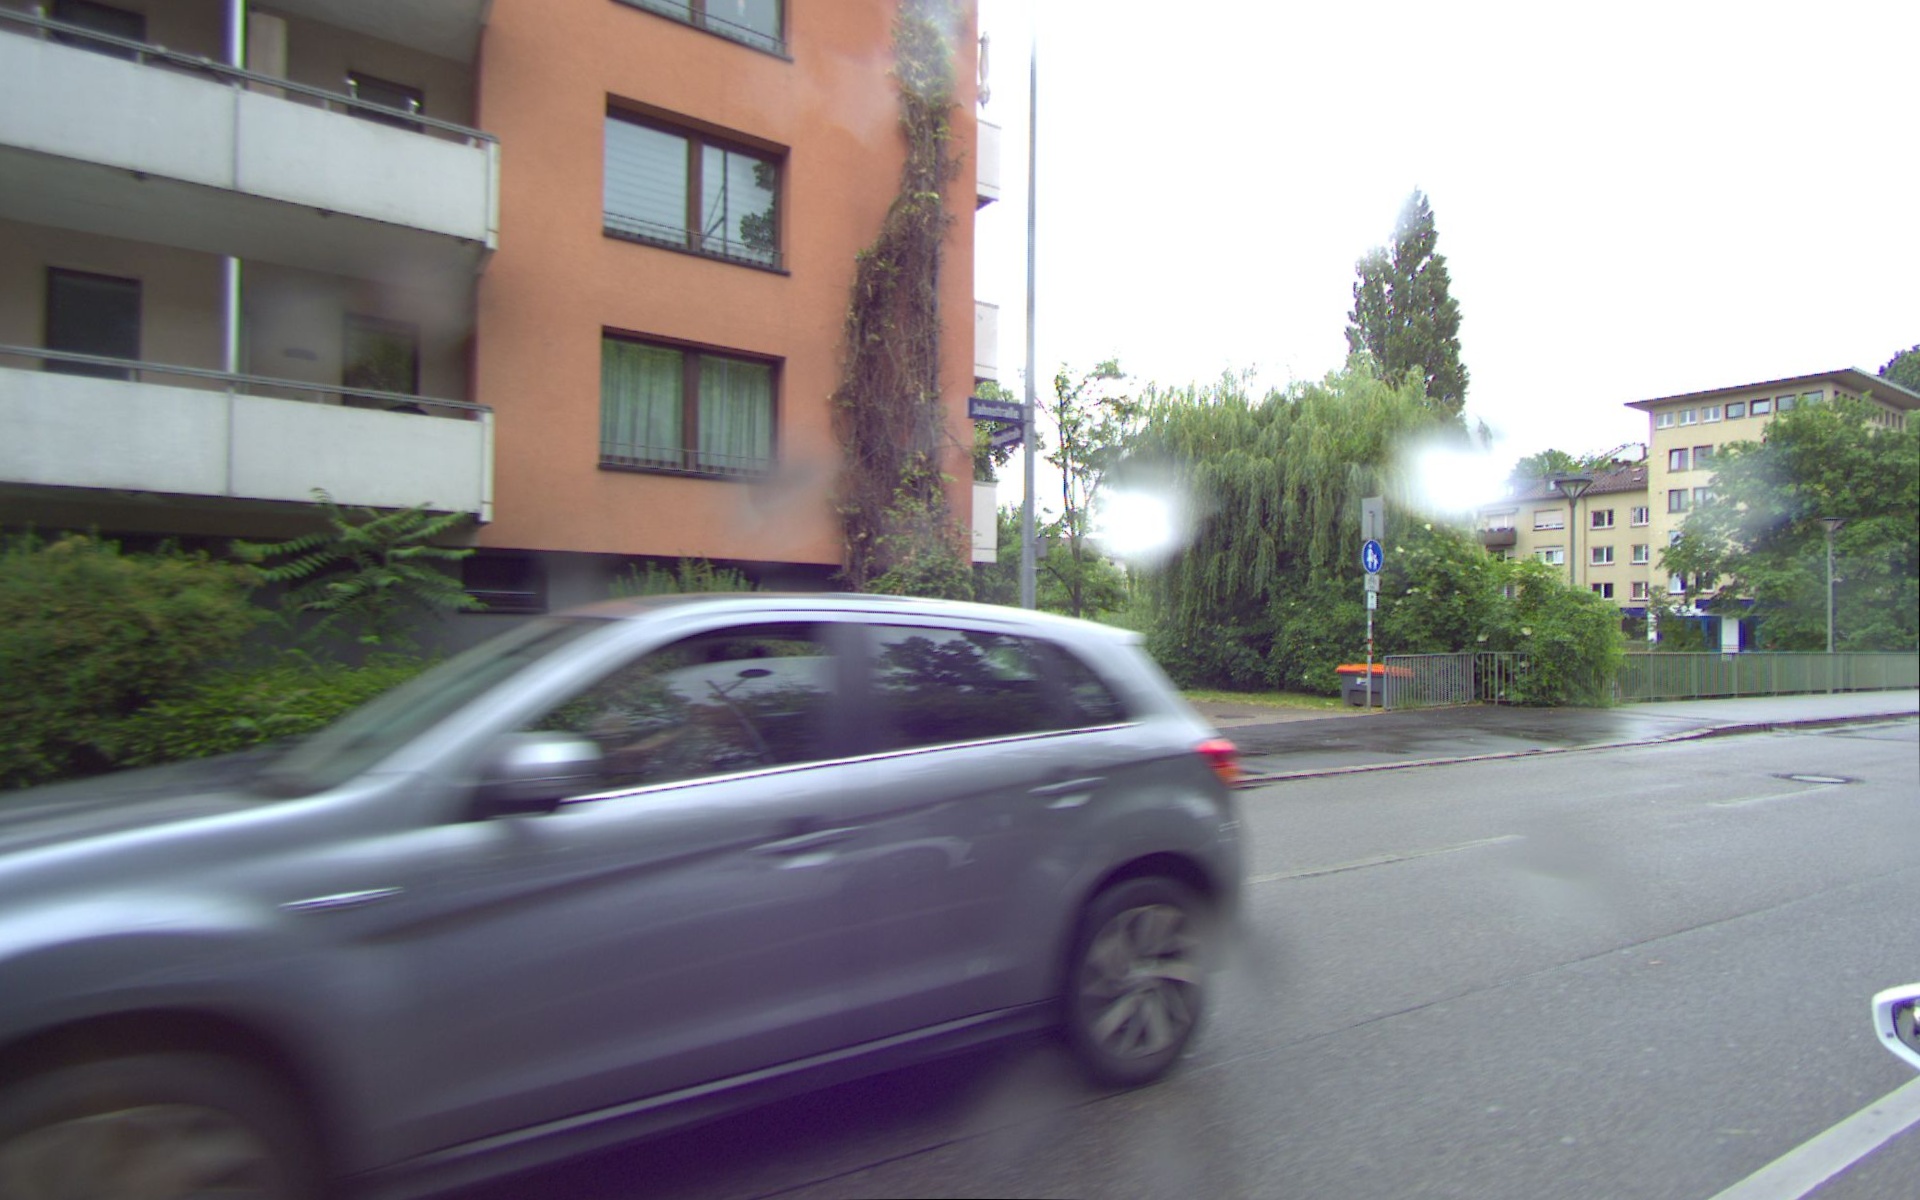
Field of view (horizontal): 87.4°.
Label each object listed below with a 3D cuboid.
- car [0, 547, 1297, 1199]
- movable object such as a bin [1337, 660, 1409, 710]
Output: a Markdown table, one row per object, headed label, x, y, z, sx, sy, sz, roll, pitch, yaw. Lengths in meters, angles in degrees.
| label | x | y | z | sx | sy | sz | roll | pitch | yaw |
| --- | --- | --- | --- | --- | --- | --- | --- | --- | --- |
| car | -1.021 | 0.762 | 3.210 | 4.187 | 1.599 | 1.802 | 1 | -2 | -34 |
| movable object such as a bin | 7.827 | 1.591 | 19.050 | 0.822 | 0.888 | 0.961 | 2 | -2 | -30 |
